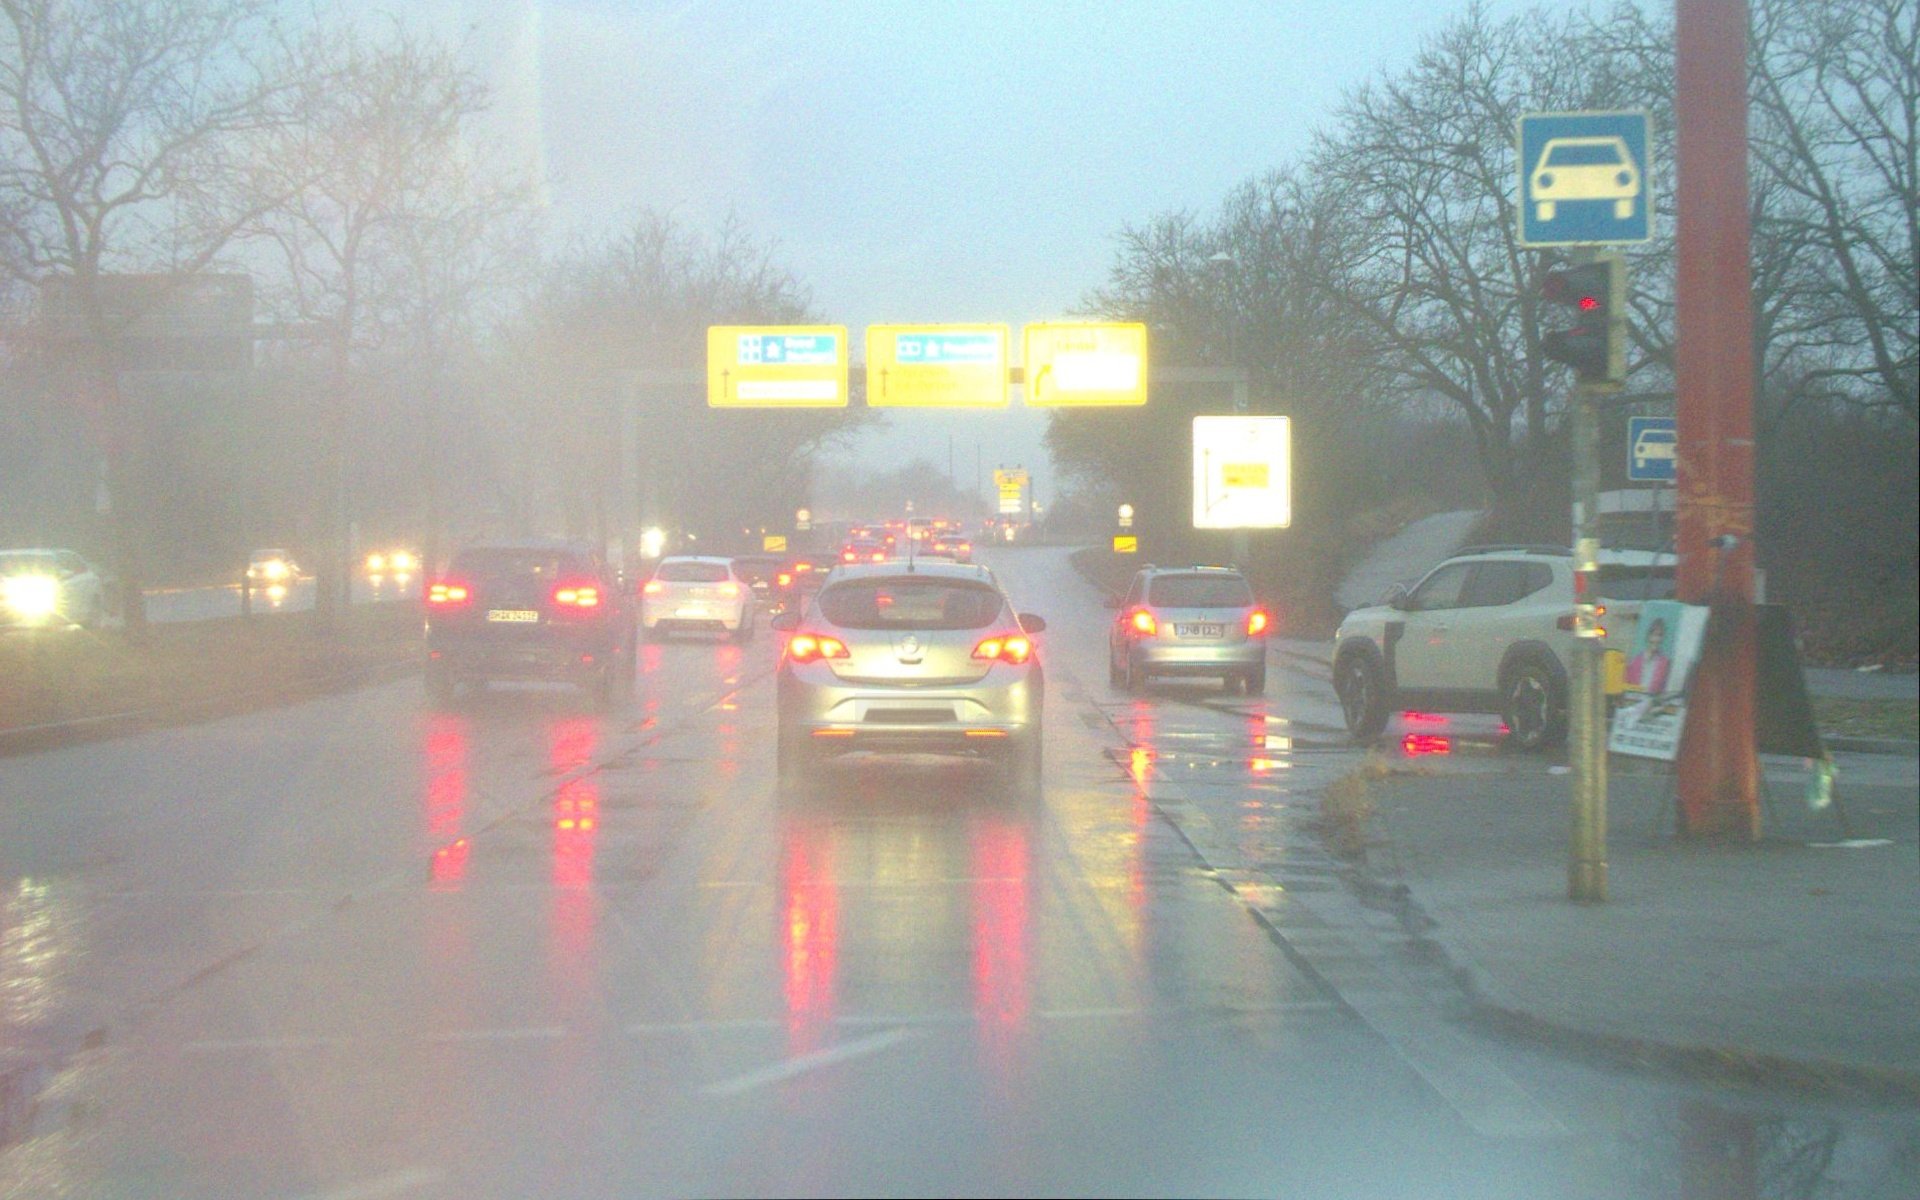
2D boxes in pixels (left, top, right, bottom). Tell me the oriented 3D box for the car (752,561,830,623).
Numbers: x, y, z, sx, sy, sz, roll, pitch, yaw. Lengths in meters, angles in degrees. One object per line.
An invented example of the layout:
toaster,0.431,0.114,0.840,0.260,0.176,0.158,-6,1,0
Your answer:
car,-3.729,-0.189,76.467,1.505,1.334,4.000,0,0,1

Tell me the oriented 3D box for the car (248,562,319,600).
car,-27.539,-0.789,139.998,1.993,1.472,4.072,1,1,1

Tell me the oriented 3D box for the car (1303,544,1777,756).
car,4.709,0.362,28.585,1.815,1.612,4.412,0,1,-23

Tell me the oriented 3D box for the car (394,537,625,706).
car,-4.574,0.192,35.443,1.822,1.642,4.000,0,0,1

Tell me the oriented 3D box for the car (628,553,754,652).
car,-4.584,0.027,59.084,1.822,1.642,4.000,0,0,1

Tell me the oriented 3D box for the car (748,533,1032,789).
car,-0.429,0.362,24.327,1.822,1.642,4.466,0,1,1

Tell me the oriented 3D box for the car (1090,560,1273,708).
car,2.621,0.387,41.639,1.933,1.642,4.466,1,0,1

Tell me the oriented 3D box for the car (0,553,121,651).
car,-15.334,-0.002,56.843,1.770,1.531,4.841,0,1,-1

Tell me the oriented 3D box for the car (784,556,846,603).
car,-4.756,-0.683,113.083,1.822,1.499,4.000,0,0,1

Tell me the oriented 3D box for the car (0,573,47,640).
car,-21.726,0.121,75.951,1.904,1.441,4.442,1,0,0
